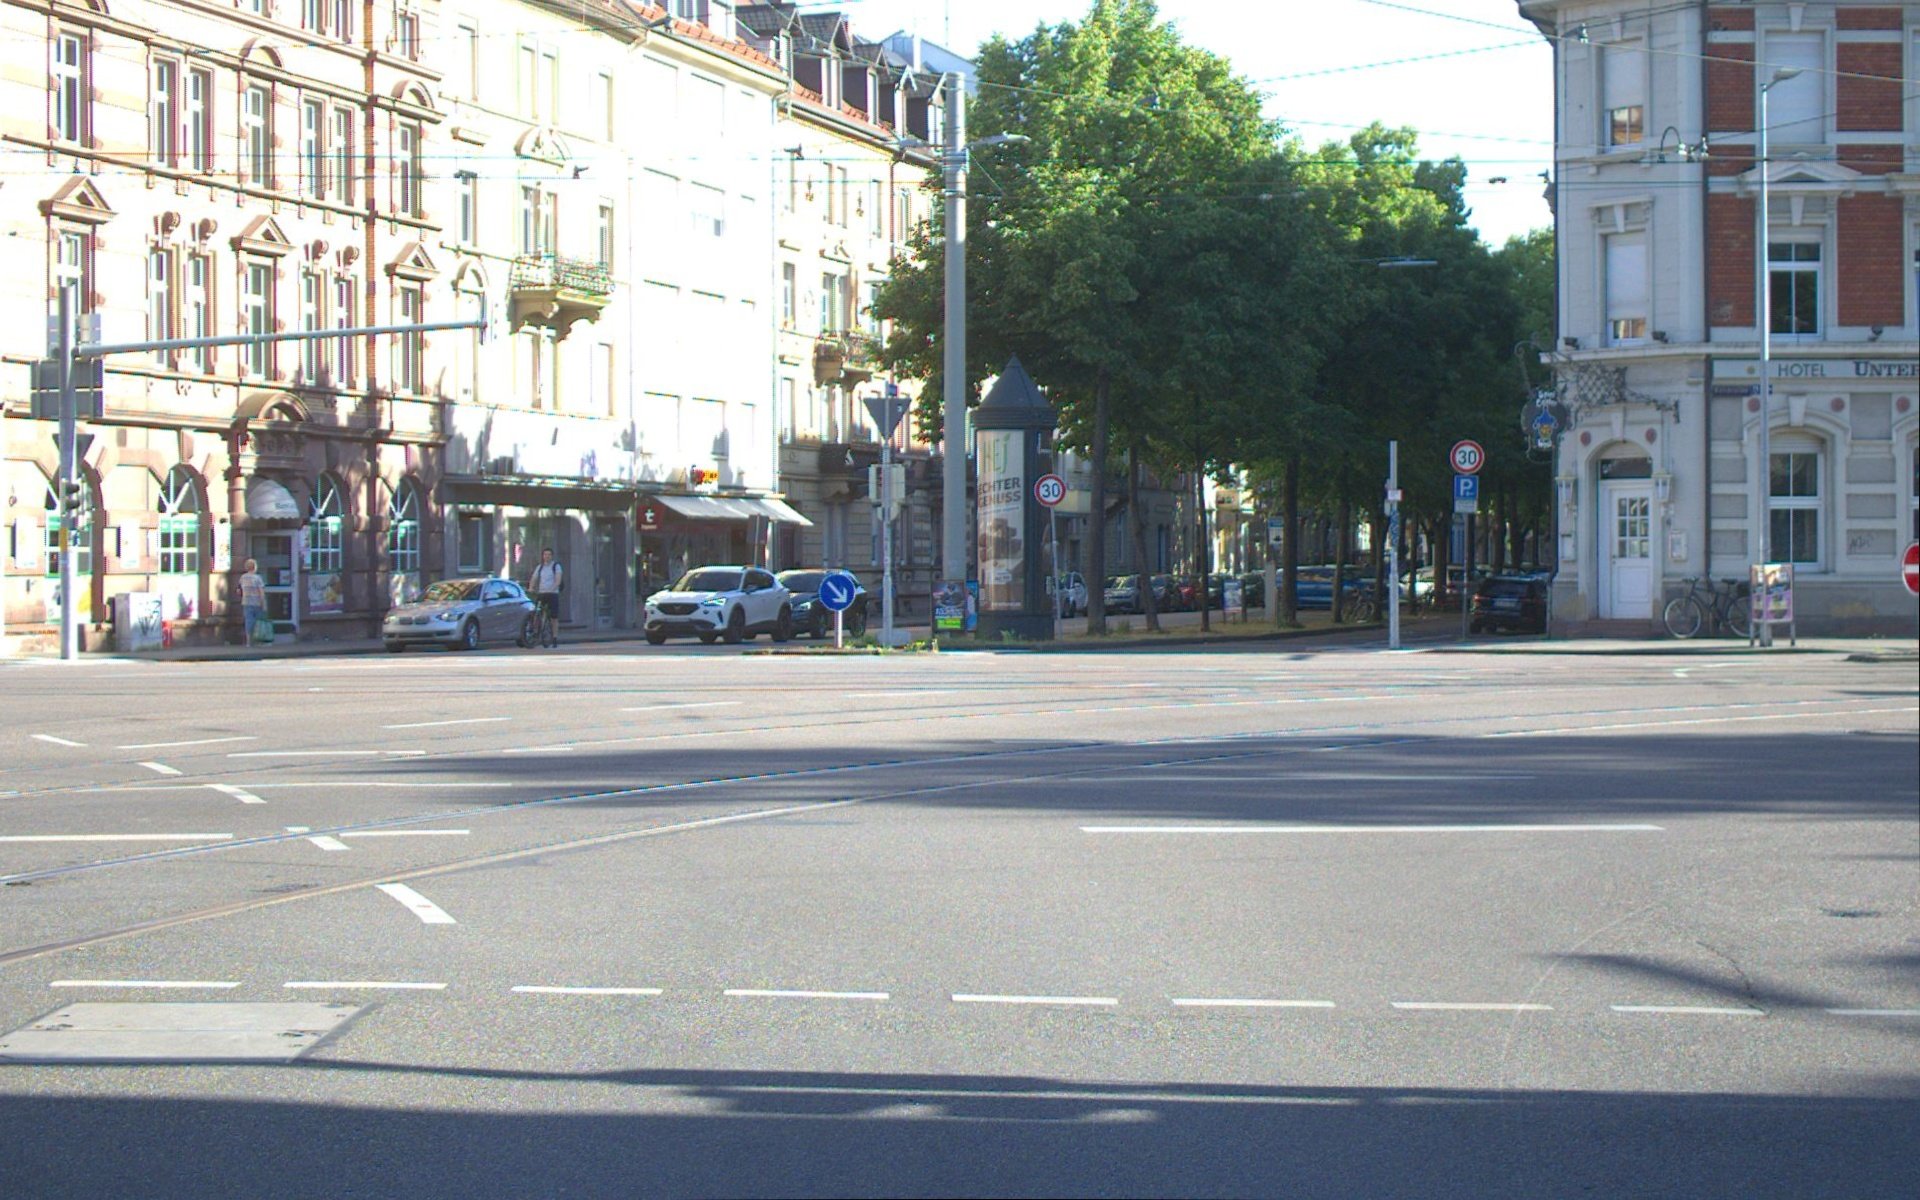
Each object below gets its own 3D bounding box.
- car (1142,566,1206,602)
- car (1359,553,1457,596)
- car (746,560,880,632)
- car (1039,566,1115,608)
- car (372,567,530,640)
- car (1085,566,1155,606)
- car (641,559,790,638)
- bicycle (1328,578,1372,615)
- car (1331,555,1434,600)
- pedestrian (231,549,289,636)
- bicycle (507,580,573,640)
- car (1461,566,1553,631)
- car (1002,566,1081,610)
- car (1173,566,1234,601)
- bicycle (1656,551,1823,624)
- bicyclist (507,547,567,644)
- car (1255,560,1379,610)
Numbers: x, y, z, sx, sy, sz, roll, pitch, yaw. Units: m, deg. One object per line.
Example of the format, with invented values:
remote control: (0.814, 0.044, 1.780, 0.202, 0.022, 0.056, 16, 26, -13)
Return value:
car: (8.154, -0.619, 130.741, 1.678, 1.349, 3.588, 0, 1, 17)
car: (17.401, -1.005, 133.500, 3.582, 1.642, 1.681, 0, 1, 17)
car: (-3.112, -0.105, 73.610, 1.678, 1.478, 3.945, 0, 1, 17)
car: (3.945, -0.448, 115.474, 1.678, 1.349, 3.588, 0, 1, 17)
car: (-9.865, 0.052, 66.906, 1.678, 1.349, 3.588, 0, 1, 17)
car: (5.717, -0.506, 122.435, 1.678, 1.349, 3.588, 0, 1, 17)
car: (-4.754, -0.055, 67.309, 1.678, 1.478, 3.768, 0, 1, 17)
bicycle: (11.271, -0.107, 99.478, 0.636, 1.018, 1.847, 1, 1, -14)
car: (15.726, -0.850, 128.027, 3.582, 1.642, 1.681, 0, 1, 17)
pedestrian: (-13.512, -0.153, 66.371, 0.776, 1.664, 0.830, 1, 0, 15)
bicycle: (-7.972, 0.182, 65.260, 0.702, 1.114, 1.634, 1, 1, 13)
car: (13.159, -0.059, 82.568, 1.678, 1.478, 3.945, 0, 1, 17)
car: (2.647, -0.405, 111.317, 1.678, 1.349, 3.588, 0, 1, 17)
car: (9.626, -0.658, 135.772, 1.678, 1.349, 3.588, 0, 1, 17)
bicycle: (12.976, -0.209, 57.269, 2.554, 1.170, 0.819, 1, 0, -3)
bicyclist: (-8.007, -0.091, 65.134, 0.779, 1.797, 1.055, 1, 0, 14)
car: (12.003, -0.513, 115.672, 3.905, 1.642, 1.681, 0, 1, 17)
